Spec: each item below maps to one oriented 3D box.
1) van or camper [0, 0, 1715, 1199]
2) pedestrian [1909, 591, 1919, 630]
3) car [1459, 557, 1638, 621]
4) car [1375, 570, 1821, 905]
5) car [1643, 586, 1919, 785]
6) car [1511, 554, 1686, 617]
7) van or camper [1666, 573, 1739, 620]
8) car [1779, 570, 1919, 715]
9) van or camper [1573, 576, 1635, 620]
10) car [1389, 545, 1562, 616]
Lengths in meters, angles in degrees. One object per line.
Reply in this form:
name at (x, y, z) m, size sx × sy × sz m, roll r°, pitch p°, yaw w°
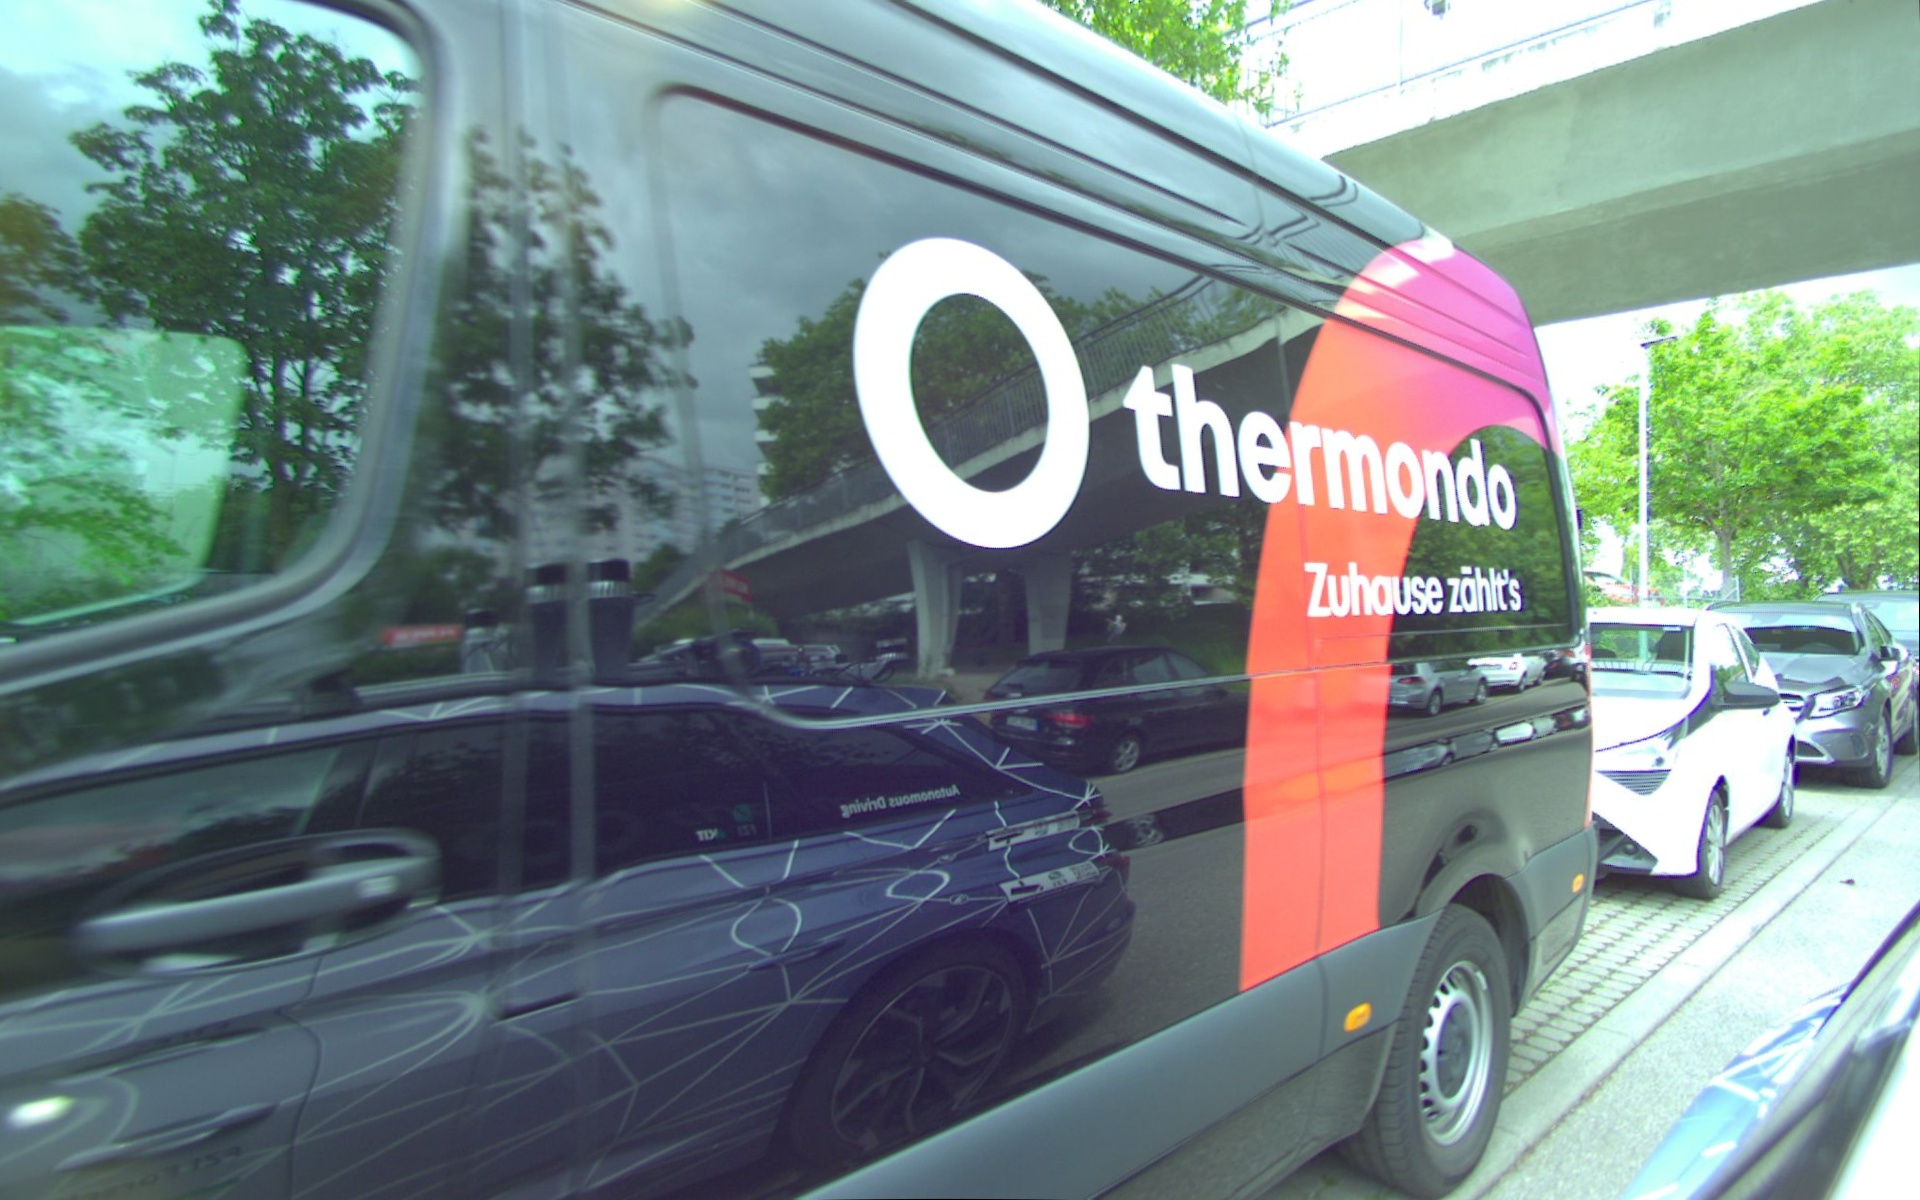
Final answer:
van or camper at (-0.244, 0.111, 2.272) m, size 5.375 × 2.554 × 1.997 m, roll 0°, pitch 1°, yaw -41°
pedestrian at (42.482, 0.457, 44.512) m, size 0.580 × 1.678 × 0.873 m, roll 1°, pitch -3°, yaw -25°
car at (14.906, -0.215, 25.880) m, size 1.649 × 1.440 × 3.806 m, roll 1°, pitch -2°, yaw -18°
car at (4.077, 0.627, 6.279) m, size 3.274 × 1.515 × 1.564 m, roll 1°, pitch 0°, yaw -43°
car at (8.154, 0.652, 9.705) m, size 4.047 × 1.515 × 1.702 m, roll 0°, pitch 0°, yaw -41°
car at (16.801, -0.322, 26.840) m, size 1.649 × 1.458 × 3.668 m, roll 1°, pitch -2°, yaw -18°
van or camper at (47.714, -0.161, 65.165) m, size 2.083 × 2.835 × 4.461 m, roll 0°, pitch -2°, yaw 13°
car at (12.556, 0.516, 13.601) m, size 4.295 × 1.699 × 1.816 m, roll 1°, pitch 0°, yaw -43°
van or camper at (44.193, -0.069, 69.567) m, size 2.083 × 2.835 × 4.461 m, roll 0°, pitch -2°, yaw 13°
car at (12.497, -0.414, 24.787) m, size 1.649 × 1.517 × 3.668 m, roll 1°, pitch -2°, yaw -18°
